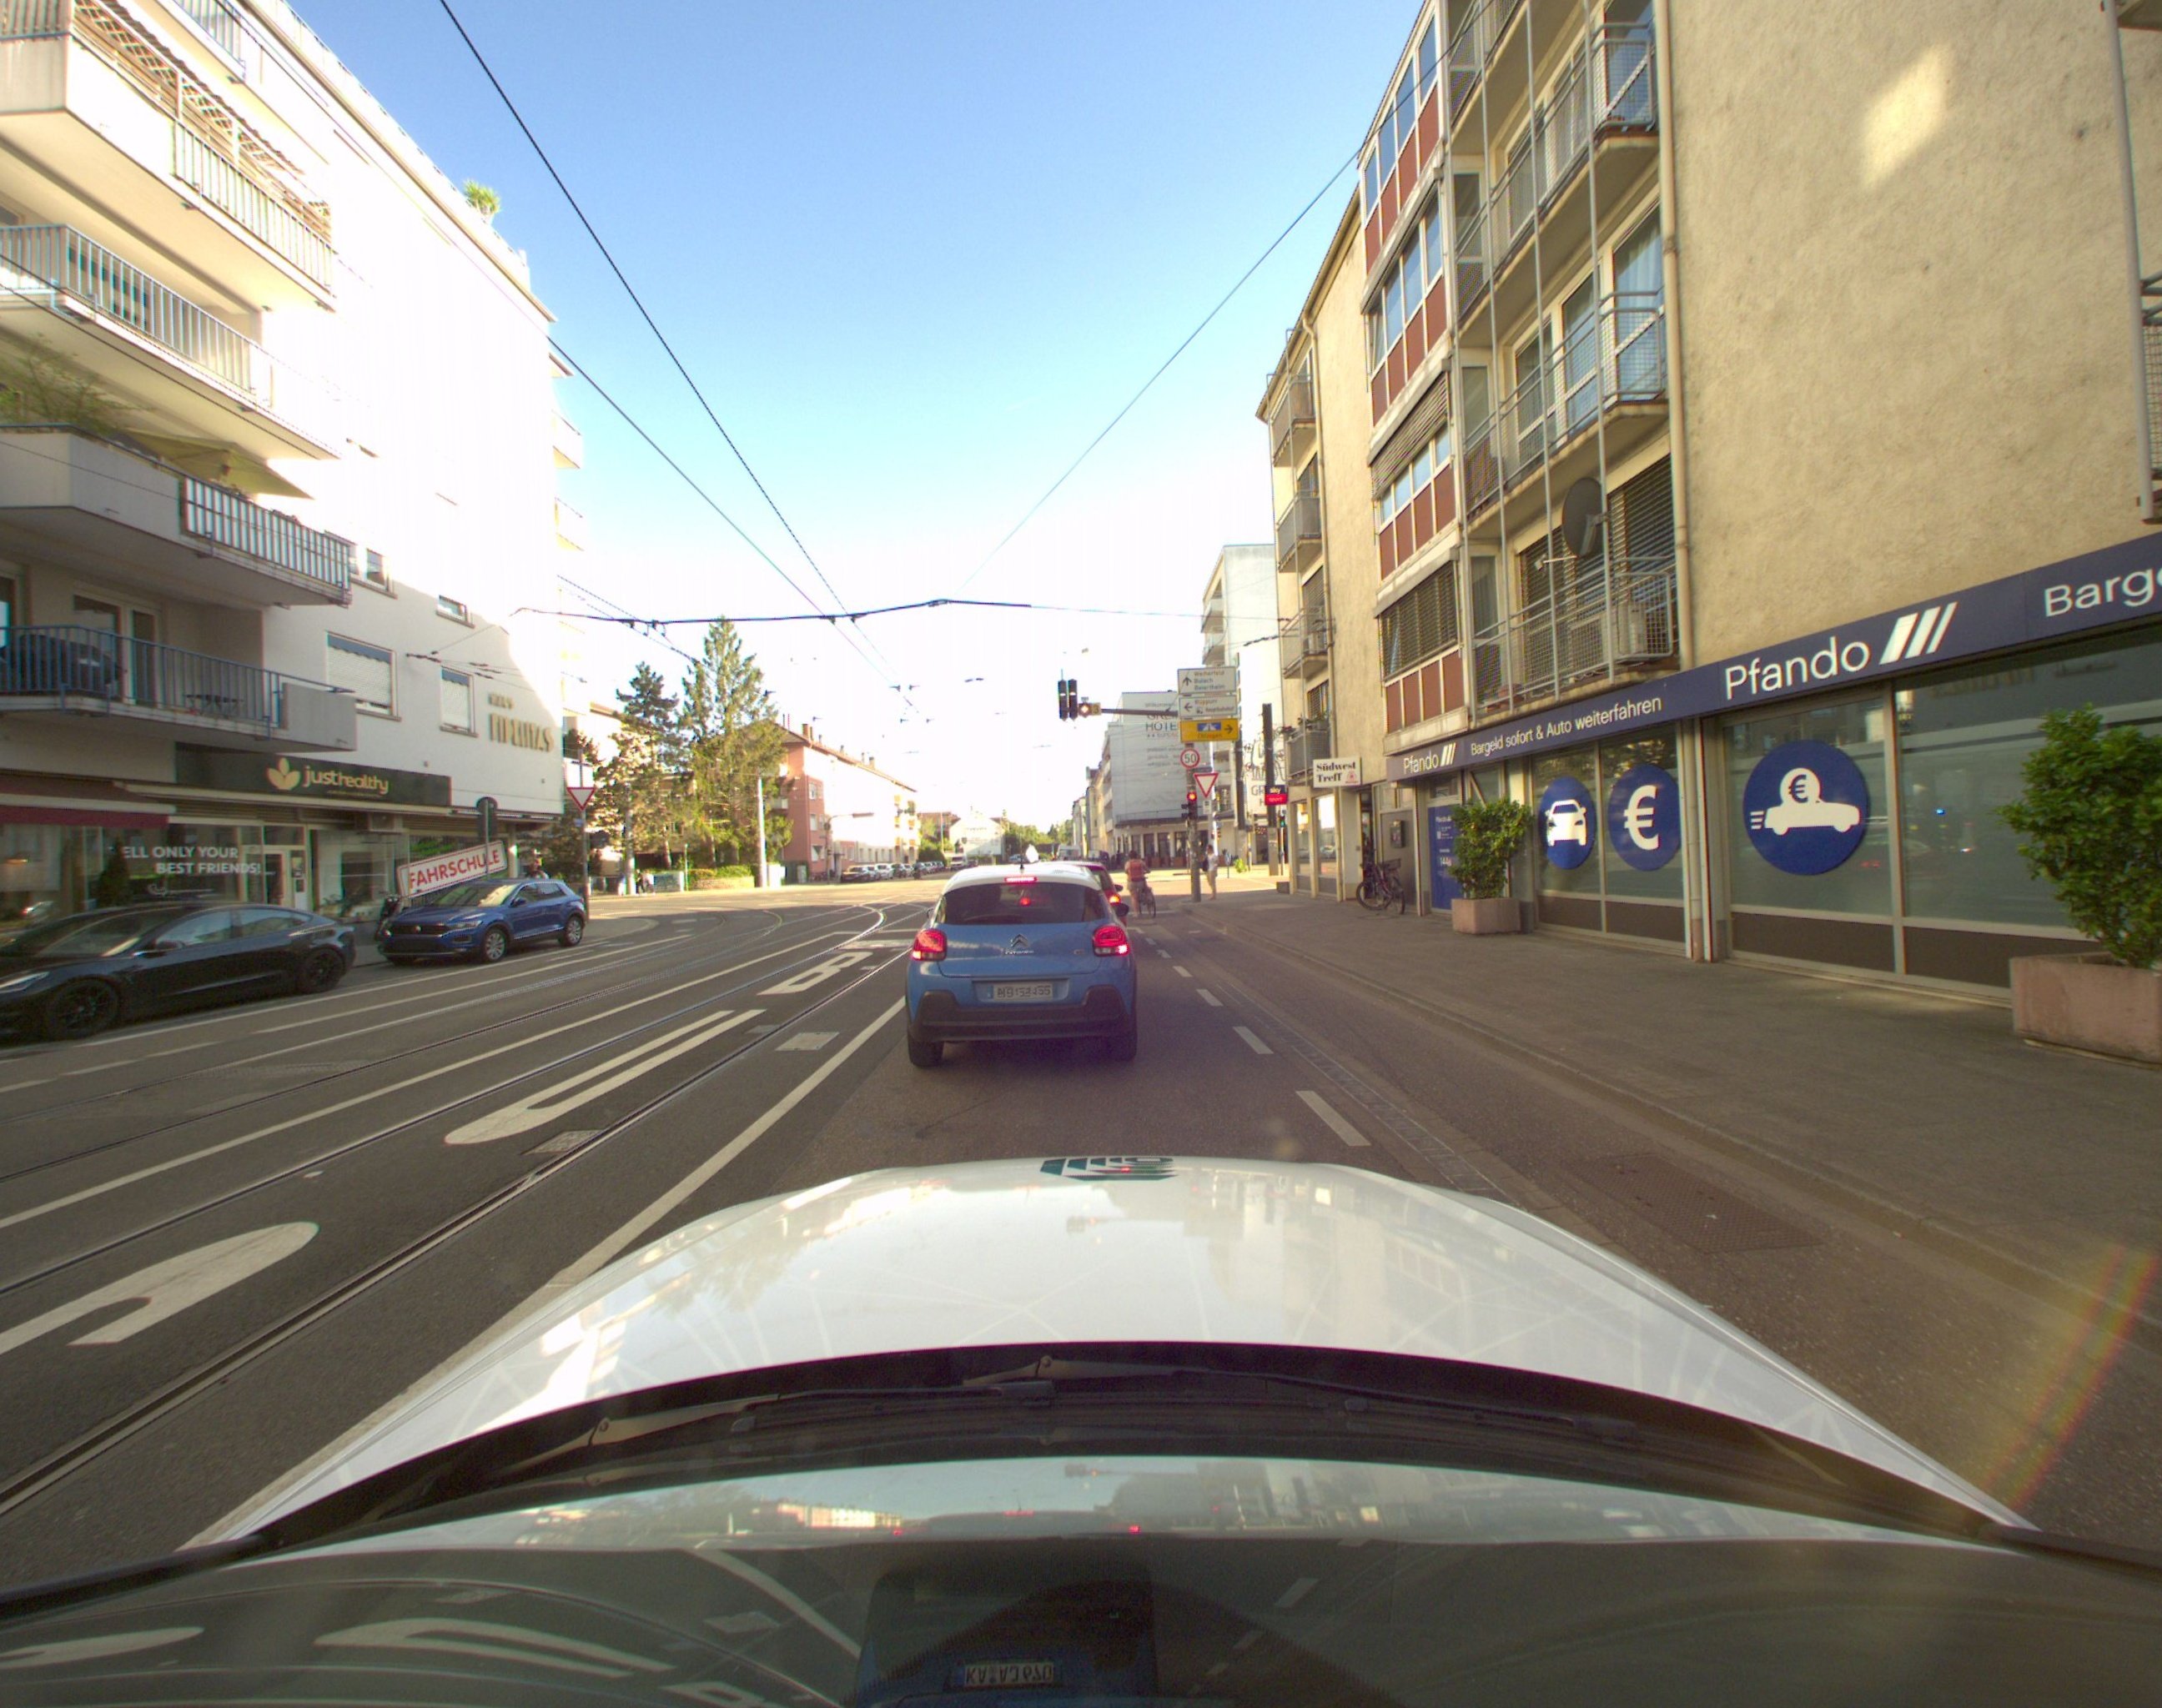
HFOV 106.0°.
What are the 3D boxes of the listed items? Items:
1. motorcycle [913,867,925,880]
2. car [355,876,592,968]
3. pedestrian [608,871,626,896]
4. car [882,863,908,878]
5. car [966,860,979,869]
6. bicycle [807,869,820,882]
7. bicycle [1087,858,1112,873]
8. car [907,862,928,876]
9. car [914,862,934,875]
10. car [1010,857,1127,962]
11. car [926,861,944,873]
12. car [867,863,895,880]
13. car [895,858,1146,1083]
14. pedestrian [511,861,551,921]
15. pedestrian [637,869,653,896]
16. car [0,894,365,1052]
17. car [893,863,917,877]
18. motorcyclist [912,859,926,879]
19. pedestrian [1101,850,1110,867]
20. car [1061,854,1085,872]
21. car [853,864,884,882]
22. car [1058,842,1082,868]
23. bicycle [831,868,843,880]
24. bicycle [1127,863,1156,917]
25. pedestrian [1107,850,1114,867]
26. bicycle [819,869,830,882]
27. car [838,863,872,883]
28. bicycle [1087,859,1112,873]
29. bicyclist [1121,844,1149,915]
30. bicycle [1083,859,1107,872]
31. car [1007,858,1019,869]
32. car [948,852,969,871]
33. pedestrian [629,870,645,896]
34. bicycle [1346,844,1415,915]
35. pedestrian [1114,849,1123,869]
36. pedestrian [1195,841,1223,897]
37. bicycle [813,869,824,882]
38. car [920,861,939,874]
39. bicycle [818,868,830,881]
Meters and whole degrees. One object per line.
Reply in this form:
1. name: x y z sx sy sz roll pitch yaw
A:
1. motorcycle: -13.481 1.595 67.769 0.751 0.976 2.092 -2 0 -7
2. car: -11.880 1.240 16.333 1.720 1.505 4.113 0 0 -2
3. pedestrian: -31.773 2.013 55.784 0.809 1.702 0.677 -2 0 -15
4. car: -19.725 1.736 86.537 1.947 1.519 3.995 -2 0 -4
5. car: -19.328 1.815 145.253 1.947 1.519 3.995 -2 0 -4
6. bicycle: -22.377 1.790 68.087 0.640 1.082 1.905 -2 0 -9
7. bicycle: 1.519 0.930 65.942 1.901 1.064 0.641 -2 0 -6
8. car: -19.846 1.783 99.034 1.947 1.519 3.995 -2 0 -4
9. car: -20.091 1.798 104.048 1.947 1.519 3.995 -2 0 -4
10. car: -0.228 0.808 13.715 1.675 1.462 3.997 -1 0 -2
11. car: -20.718 1.850 115.692 1.947 1.519 3.995 -2 0 -4
12. car: -19.556 1.681 79.864 1.947 1.519 3.995 -2 0 -4
13. car: -0.454 0.788 7.506 1.675 1.462 3.997 -1 0 -2
14. pedestrian: -17.288 1.165 25.605 0.761 1.834 0.725 -2 0 28
15. pedestrian: -29.037 1.902 54.268 0.812 1.702 0.602 -2 0 -22
16. car: -11.985 1.327 10.430 1.720 1.403 4.486 0 0 -2
17. car: -19.976 1.787 92.605 1.947 1.519 3.995 -2 0 -4
18. motorcyclist: -13.471 1.267 67.702 0.990 1.631 0.737 -2 0 -7
19. pedestrian: 2.107 0.396 70.386 0.520 1.420 0.550 -3 0 22
20. car: -0.712 0.741 67.993 1.783 1.359 3.909 -2 0 -4
21. car: -19.567 1.714 75.252 1.947 1.519 4.040 -2 0 -4
22. car: -1.035 0.086 73.455 2.074 2.269 5.647 -1 0 -2
23. bicycle: -22.713 1.857 75.812 0.608 1.082 1.908 -2 0 -4
24. bicycle: 1.532 0.885 20.734 0.611 1.264 1.911 -2 0 2
25. pedestrian: 2.527 0.380 70.125 0.467 1.420 0.524 -2 0 -11
26. bicycle: -21.593 1.790 68.481 0.537 1.082 1.905 -2 0 -9
27. car: -19.287 1.597 69.629 1.947 1.519 3.995 -2 0 -4
28. bicycle: 1.528 0.960 67.249 1.901 1.064 0.641 -2 0 -6
29. bicyclist: 1.368 0.631 20.700 0.598 1.746 1.084 -2 0 2
30. bicycle: 1.163 0.953 68.451 1.901 1.064 0.641 -2 0 -6
31. car: -14.254 1.980 171.419 2.333 2.039 5.044 -2 0 -4
32. car: -18.119 1.102 120.585 2.489 2.712 5.828 -2 0 -5
33. pedestrian: -29.676 1.931 54.486 0.812 1.702 0.629 -2 0 -22
34. bicycle: 5.757 0.456 15.746 0.637 1.264 1.911 -2 0 2
35. pedestrian: 3.251 0.423 70.375 0.557 1.647 0.532 -2 0 -36
36. pedestrian: 3.839 0.452 24.422 0.747 1.635 0.742 -2 0 7
37. bicycle: -21.971 1.790 68.196 0.537 1.082 1.905 -2 0 -9
38. car: -20.291 1.770 109.336 1.947 1.519 3.995 -2 0 -4
39. bicycle: -23.046 1.838 73.115 0.536 1.082 1.908 -2 0 -4
